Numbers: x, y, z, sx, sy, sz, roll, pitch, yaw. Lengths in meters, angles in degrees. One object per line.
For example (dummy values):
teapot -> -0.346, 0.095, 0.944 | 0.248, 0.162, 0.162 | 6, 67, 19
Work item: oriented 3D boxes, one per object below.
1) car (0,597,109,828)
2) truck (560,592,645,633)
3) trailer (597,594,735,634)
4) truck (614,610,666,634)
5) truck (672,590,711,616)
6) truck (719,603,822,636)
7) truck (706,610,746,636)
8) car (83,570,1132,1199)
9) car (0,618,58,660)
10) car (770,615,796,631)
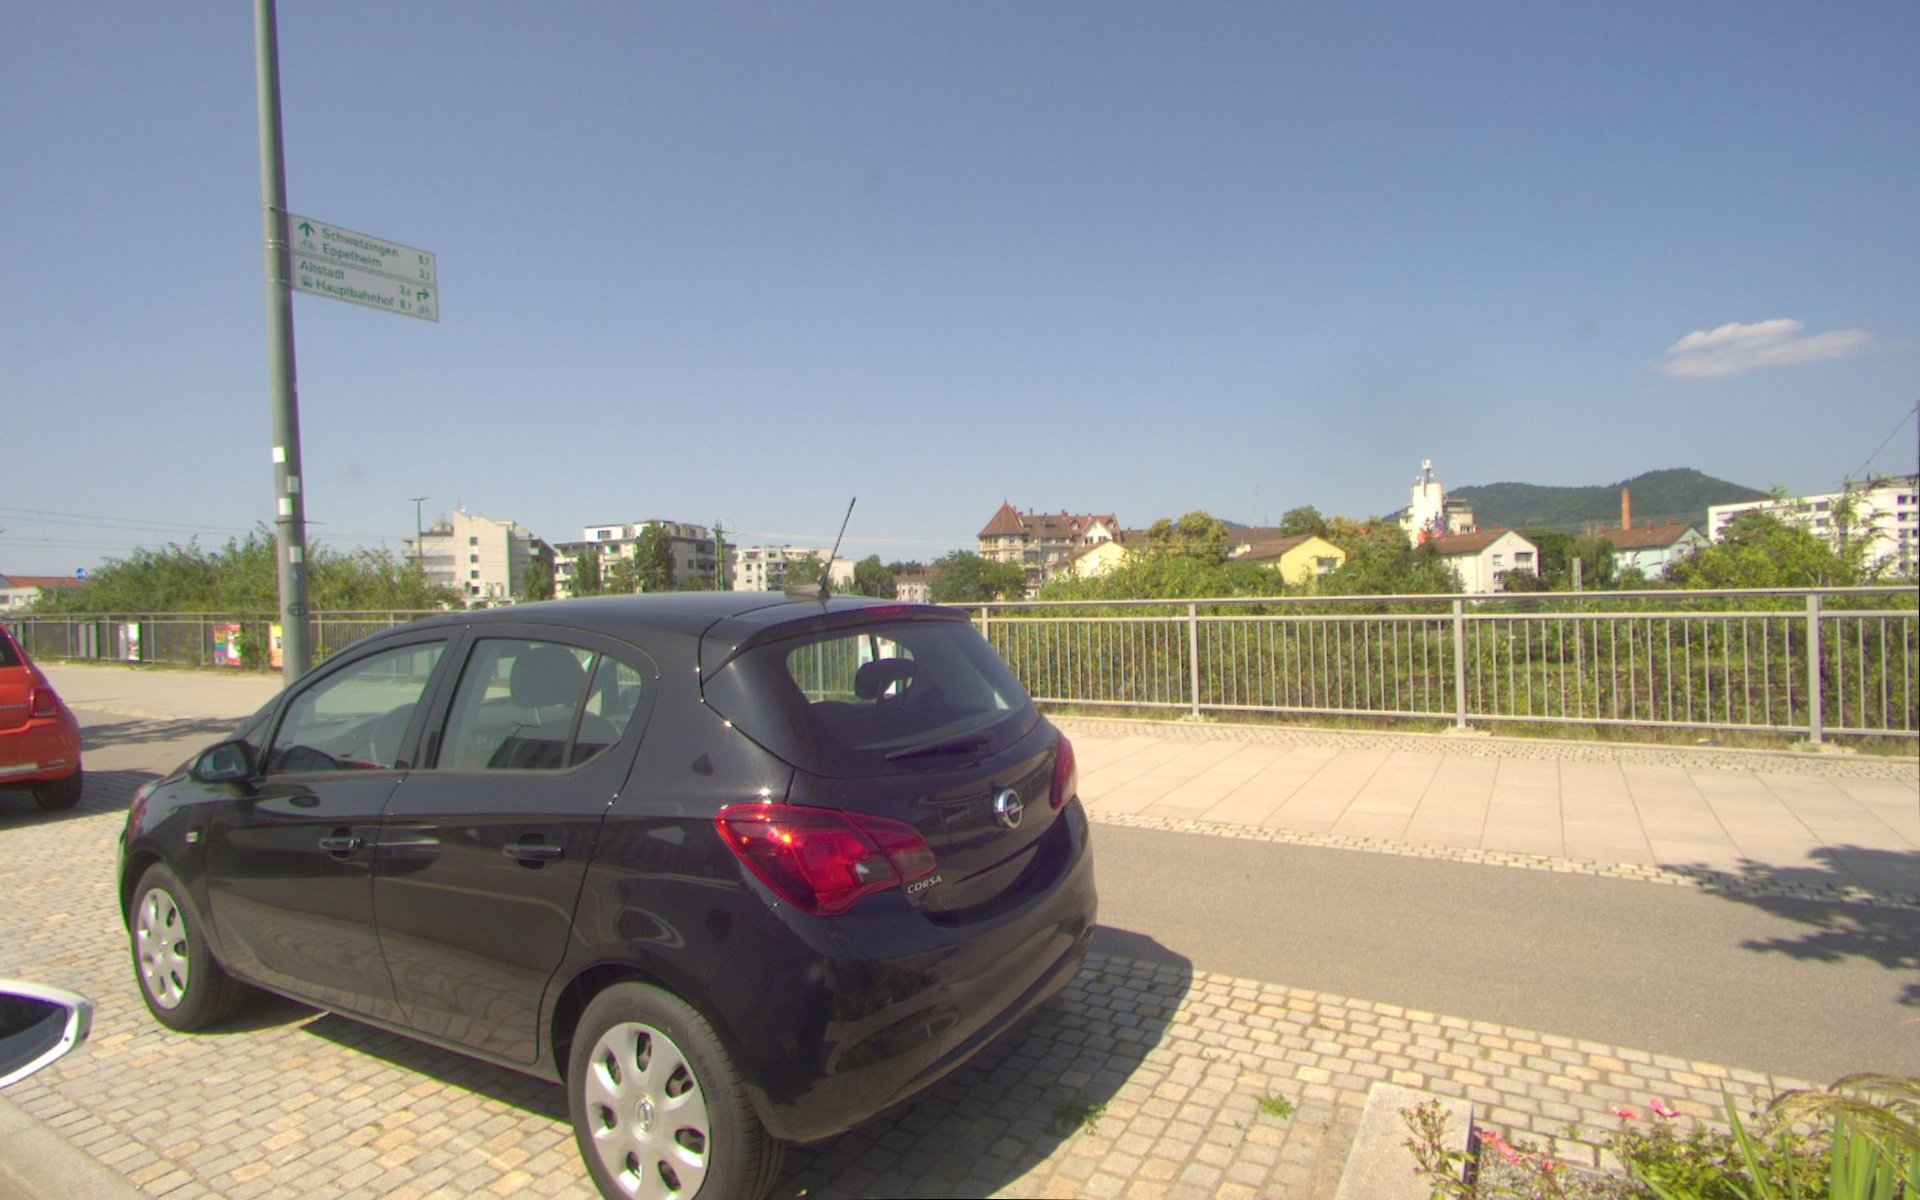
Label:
car -> -8.354, 0.782, 7.795 | 3.863, 1.561, 1.664 | 1, 2, 35
truck -> -29.940, 1.113, 84.204 | 3.672, 3.244, 6.485 | -1, -2, 17
trailer -> -27.043, 1.518, 94.005 | 3.674, 3.243, 17.244 | -1, -3, 17
truck -> -33.197, 2.328, 104.140 | 2.081, 2.396, 5.866 | -1, -2, 19
truck -> -28.839, 0.308, 107.892 | 1.963, 2.572, 4.706 | -1, -2, 15
truck -> -21.204, 2.369, 114.246 | 3.674, 3.243, 17.876 | -1, -3, 17
truck -> -28.348, 2.827, 121.536 | 2.080, 2.919, 5.867 | -1, -2, 18
car -> -1.343, 0.739, 3.502 | 3.495, 1.577, 1.577 | -1, 2, 32
car -> -47.509, 1.918, 49.451 | 1.962, 2.039, 3.998 | -1, -1, 12
car -> -24.308, 3.204, 137.700 | 1.963, 2.039, 3.998 | -1, -2, 15
